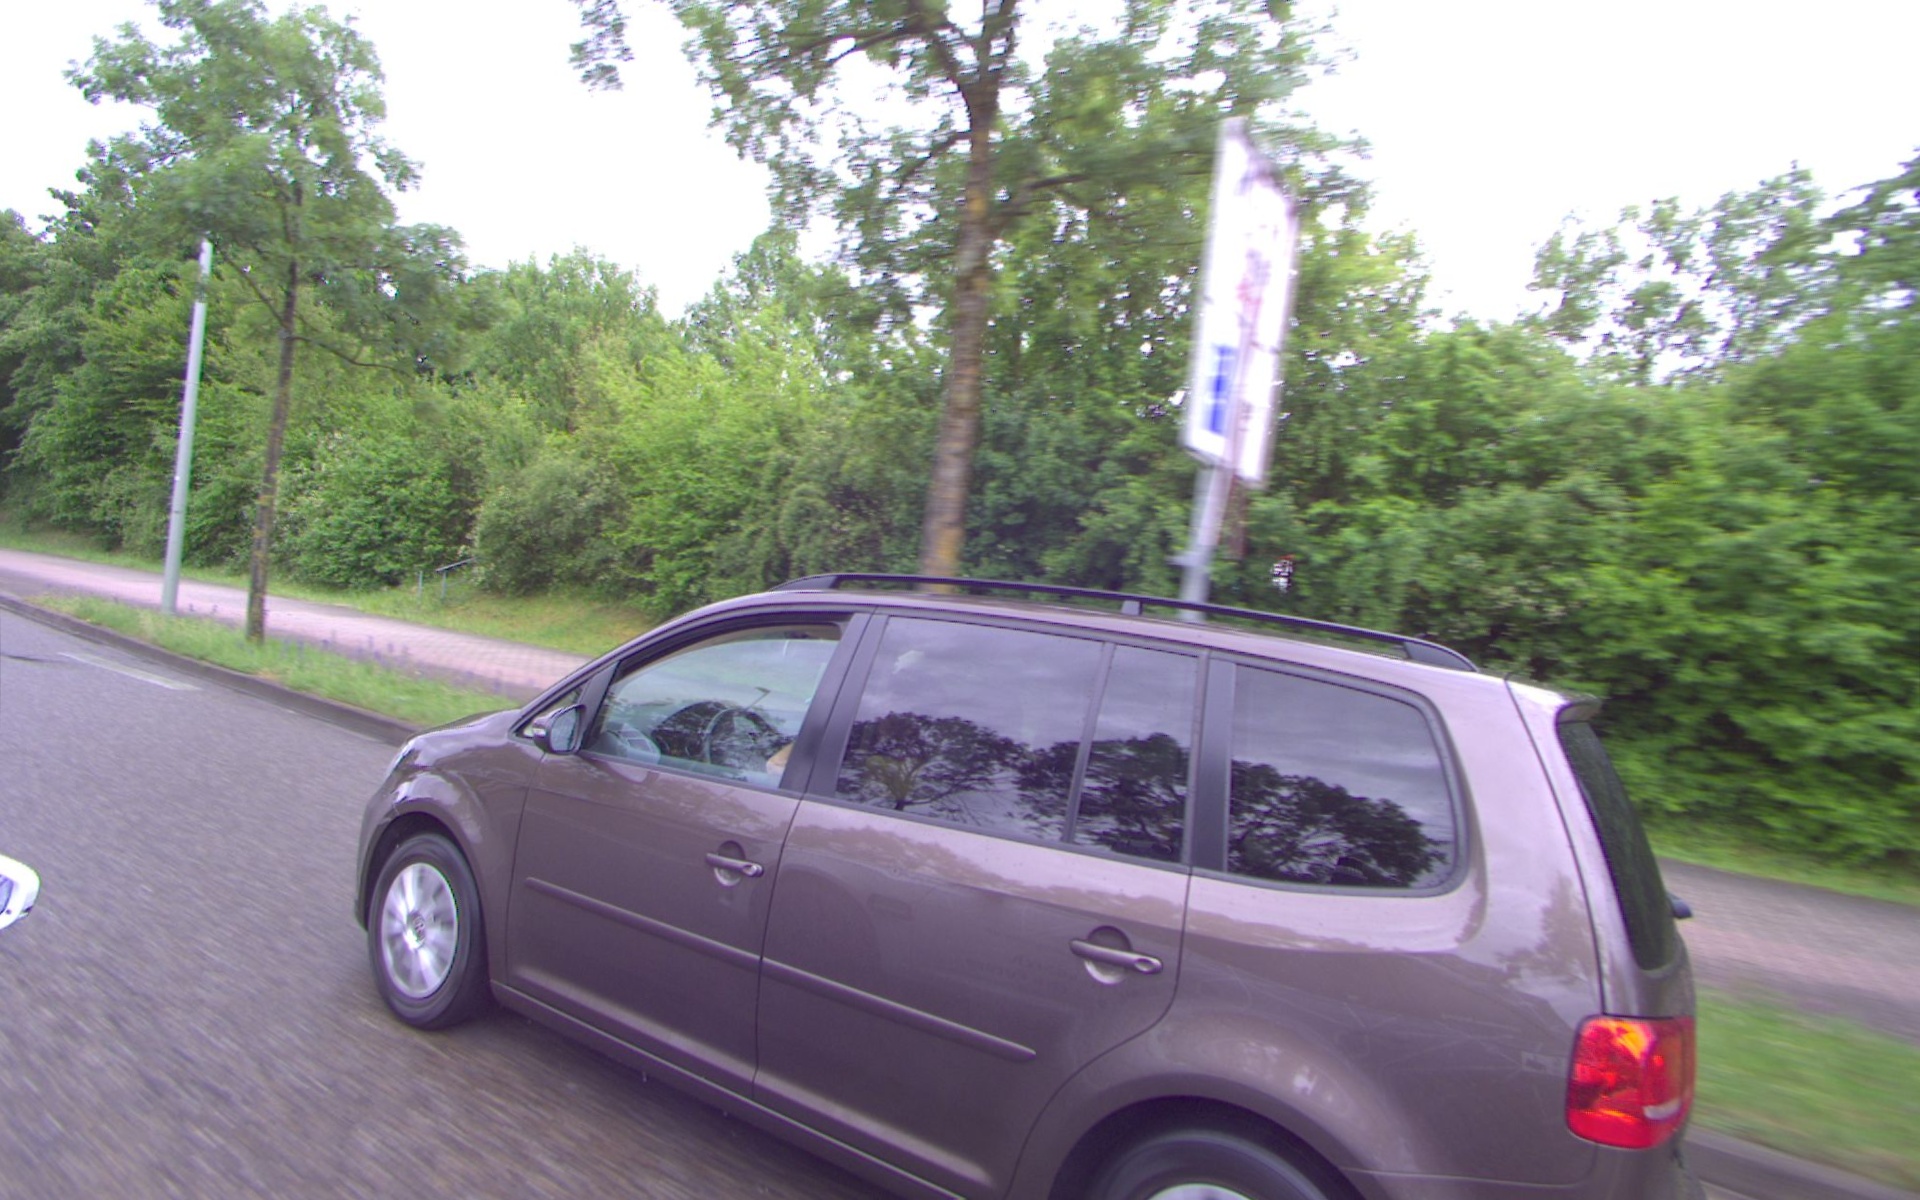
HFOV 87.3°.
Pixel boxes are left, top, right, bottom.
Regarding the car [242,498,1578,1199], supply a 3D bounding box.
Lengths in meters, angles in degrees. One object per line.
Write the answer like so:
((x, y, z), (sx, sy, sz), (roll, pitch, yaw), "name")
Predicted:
((-0.402, 0.710, 3.402), (4.062, 1.615, 1.717), (7, -2, 31), "car")
